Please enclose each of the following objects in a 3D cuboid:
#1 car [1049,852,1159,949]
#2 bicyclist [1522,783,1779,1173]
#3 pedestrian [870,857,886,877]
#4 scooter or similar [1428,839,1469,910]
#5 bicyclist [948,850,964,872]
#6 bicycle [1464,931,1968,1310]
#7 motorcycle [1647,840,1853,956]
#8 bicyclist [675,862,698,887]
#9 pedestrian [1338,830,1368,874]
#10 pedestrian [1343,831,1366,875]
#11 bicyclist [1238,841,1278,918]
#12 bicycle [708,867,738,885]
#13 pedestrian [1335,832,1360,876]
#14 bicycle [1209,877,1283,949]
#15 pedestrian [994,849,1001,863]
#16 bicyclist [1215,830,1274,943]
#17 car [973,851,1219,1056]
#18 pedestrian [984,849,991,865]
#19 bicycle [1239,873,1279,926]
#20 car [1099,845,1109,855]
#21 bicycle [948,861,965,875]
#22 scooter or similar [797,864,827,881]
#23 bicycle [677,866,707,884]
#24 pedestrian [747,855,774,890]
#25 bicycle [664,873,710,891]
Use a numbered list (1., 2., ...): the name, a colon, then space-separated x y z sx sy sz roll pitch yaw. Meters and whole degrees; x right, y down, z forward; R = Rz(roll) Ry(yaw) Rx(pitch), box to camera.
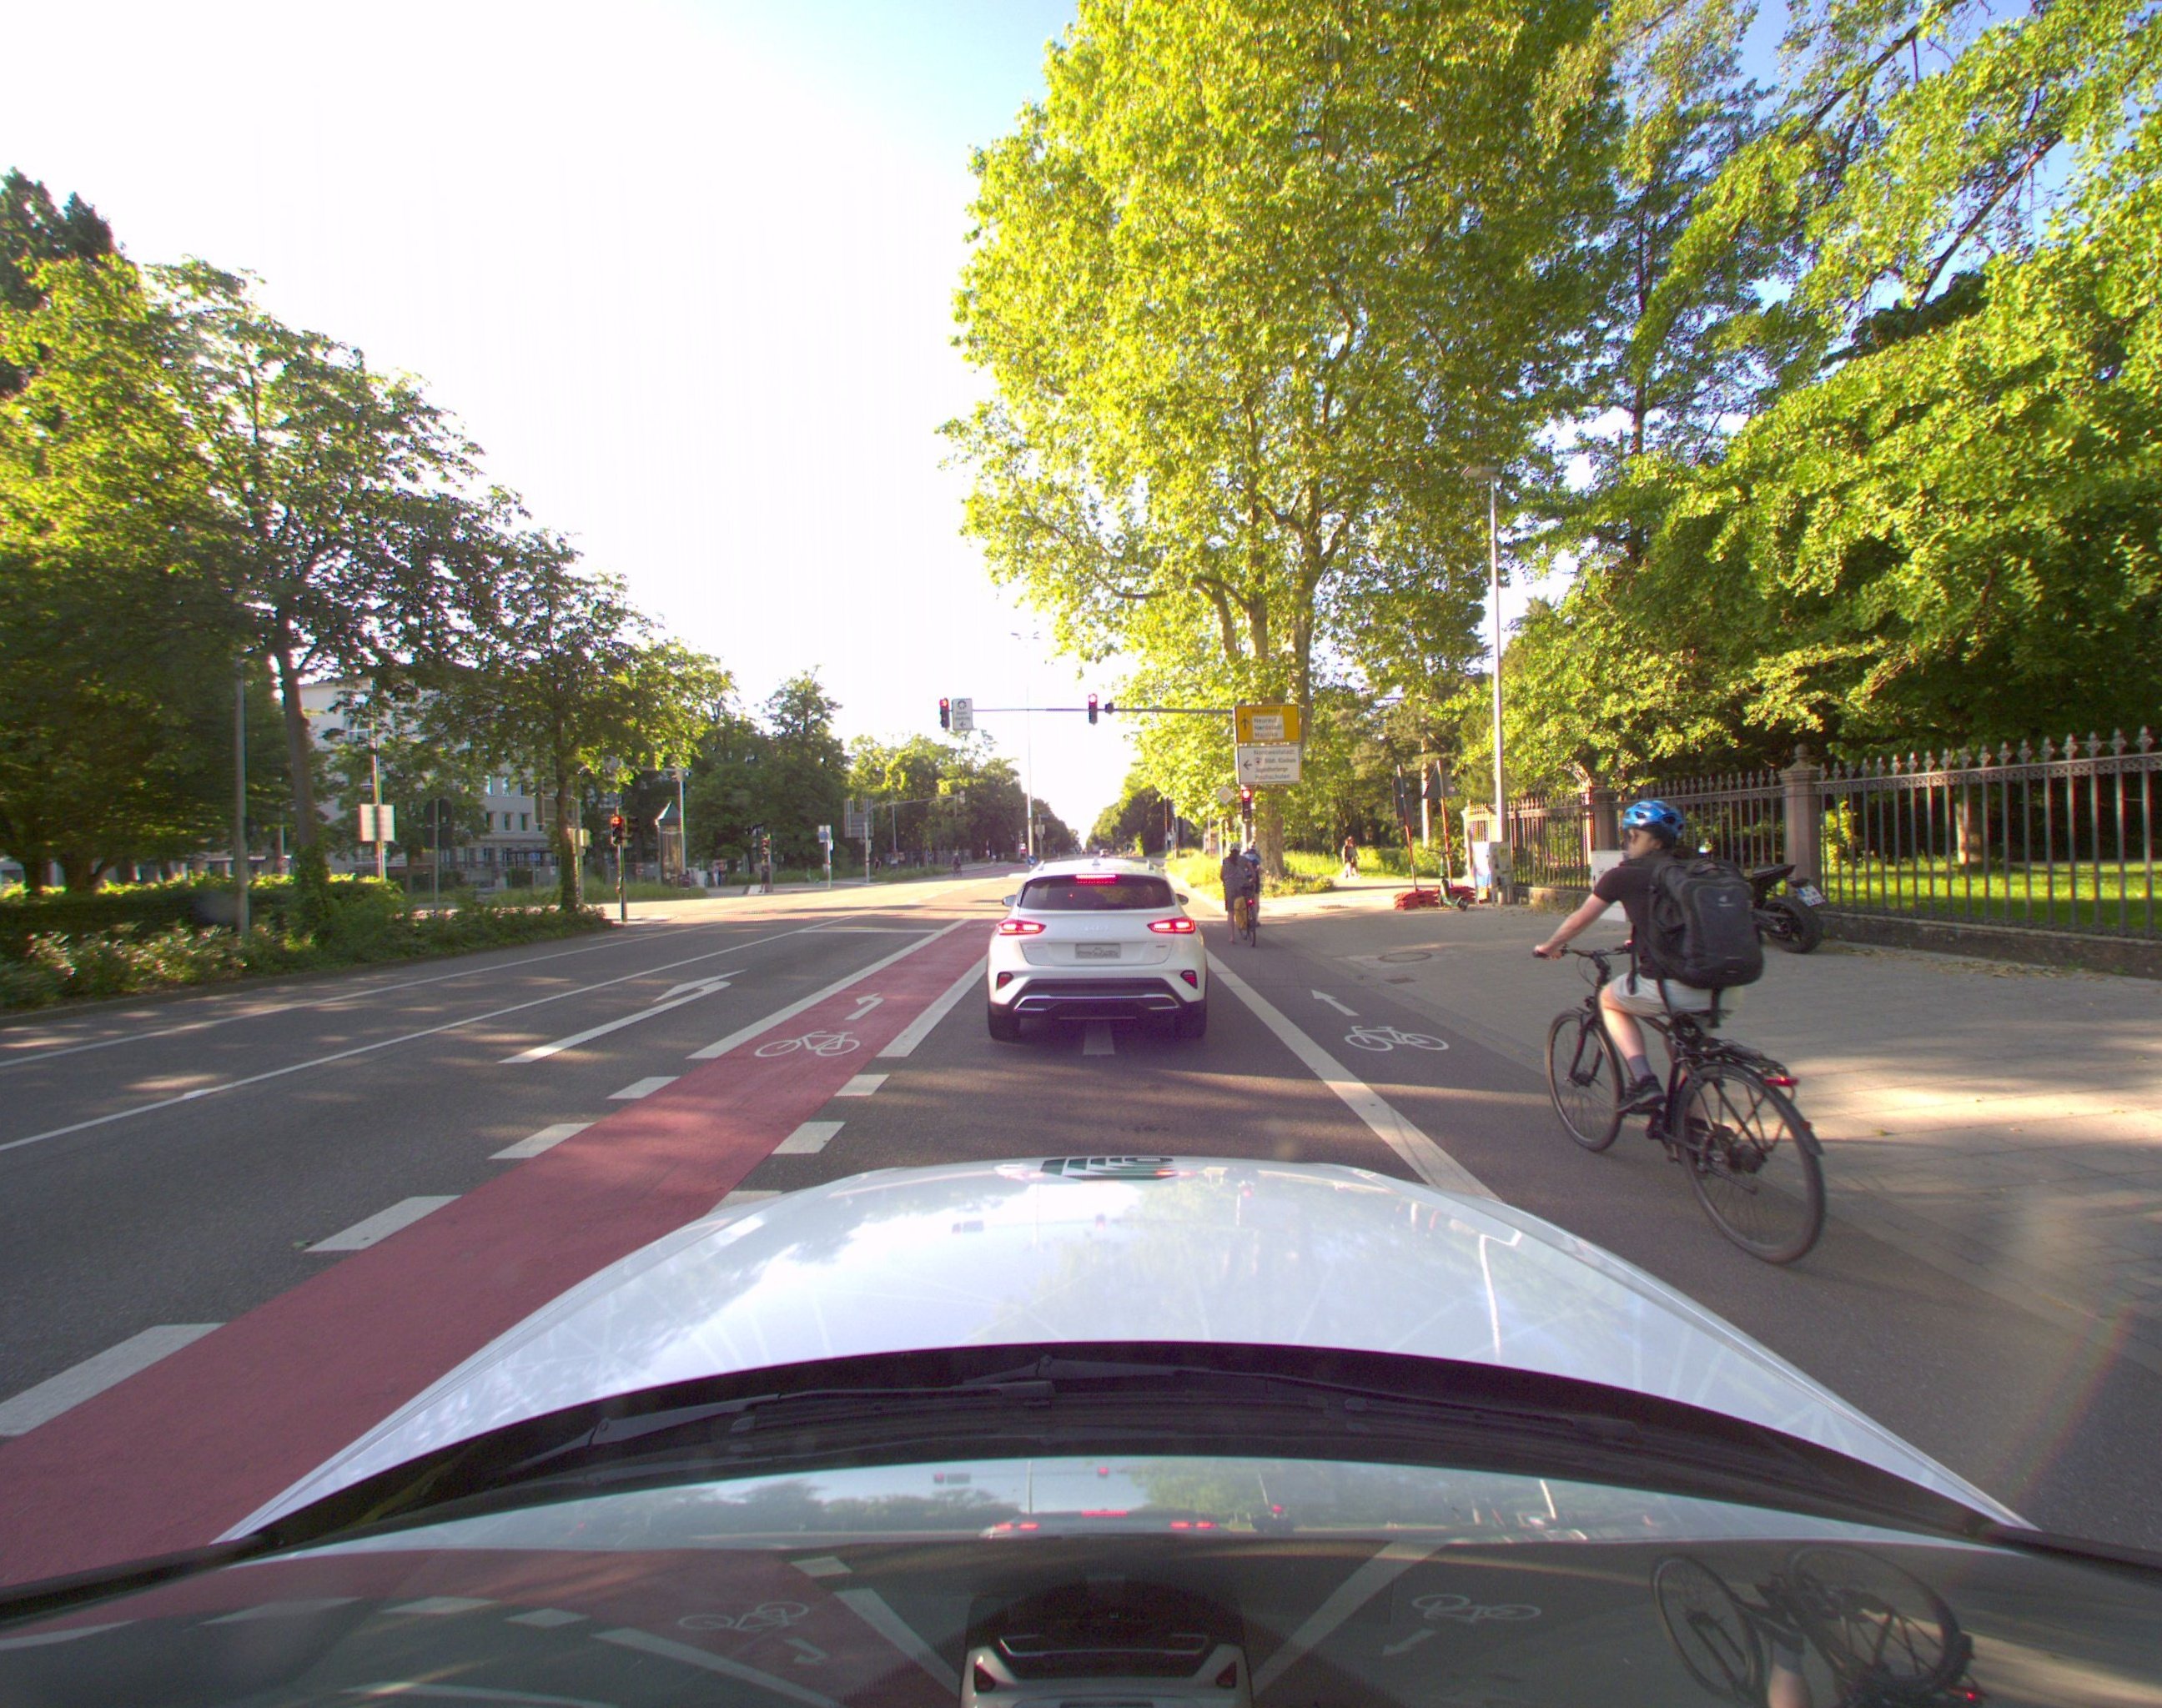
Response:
1. car: 0.379 0.755 15.027 1.723 1.483 3.516 -3 0 0
2. bicyclist: 2.542 0.507 3.713 0.663 1.602 0.721 -1 0 0
3. pedestrian: -16.380 1.033 65.695 1.086 1.603 0.999 -3 0 -5
4. scooter or similar: 7.176 0.383 15.942 0.227 1.327 1.172 -3 0 0
5. bicyclist: -9.362 0.528 61.232 0.871 1.608 1.189 -3 0 4
6. bicycle: 2.548 0.963 3.680 0.666 1.009 2.081 -1 0 0
7. motorcycle: 7.461 0.447 9.254 0.504 1.131 2.170 -4 0 0
8. bicyclist: -25.680 1.335 53.081 0.970 1.606 0.878 -3 0 2
9. pedestrian: 11.255 -0.081 33.708 0.816 1.771 0.831 -3 0 -5
10. pedestrian: 11.066 -0.039 33.007 0.615 1.771 0.645 -3 0 -5
11. bicyclist: 3.580 0.503 16.532 0.552 1.478 0.717 -5 -1 0
12. bicycle: -24.065 1.463 54.716 1.859 1.148 0.290 -1 -1 -6
13. pedestrian: 10.590 0.016 32.388 0.688 1.699 0.643 -3 0 -5
14. bicycle: 2.715 0.940 13.714 0.755 1.013 2.569 0 0 0
15. pedestrian: -10.927 0.254 106.084 0.782 1.785 0.751 -1 -1 2
16. bicyclist: 2.714 0.516 13.625 0.750 1.795 1.165 0 0 0
17. car: 0.131 0.738 8.068 1.815 1.480 3.936 -1 0 0
18. pedestrian: -12.144 0.367 105.441 0.637 2.014 0.756 -1 -1 13
19. bicycle: 3.619 0.907 16.651 0.400 0.956 1.551 -5 0 0
20. car: 4.959 -0.794 171.983 1.986 2.013 4.002 -3 0 2
21. bicycle: -9.343 1.023 61.183 0.660 0.989 2.507 -3 0 4
22. scooter or similar: -18.790 1.309 56.835 0.703 1.124 1.933 -1 0 34
23. bicycle: -26.313 1.434 55.086 1.853 1.148 0.443 -1 -1 3
24. pedestrian: -18.793 1.103 47.818 0.990 2.014 1.193 -1 -1 7
25. bicycle: -25.700 1.837 53.084 2.695 0.989 0.581 -3 0 2
